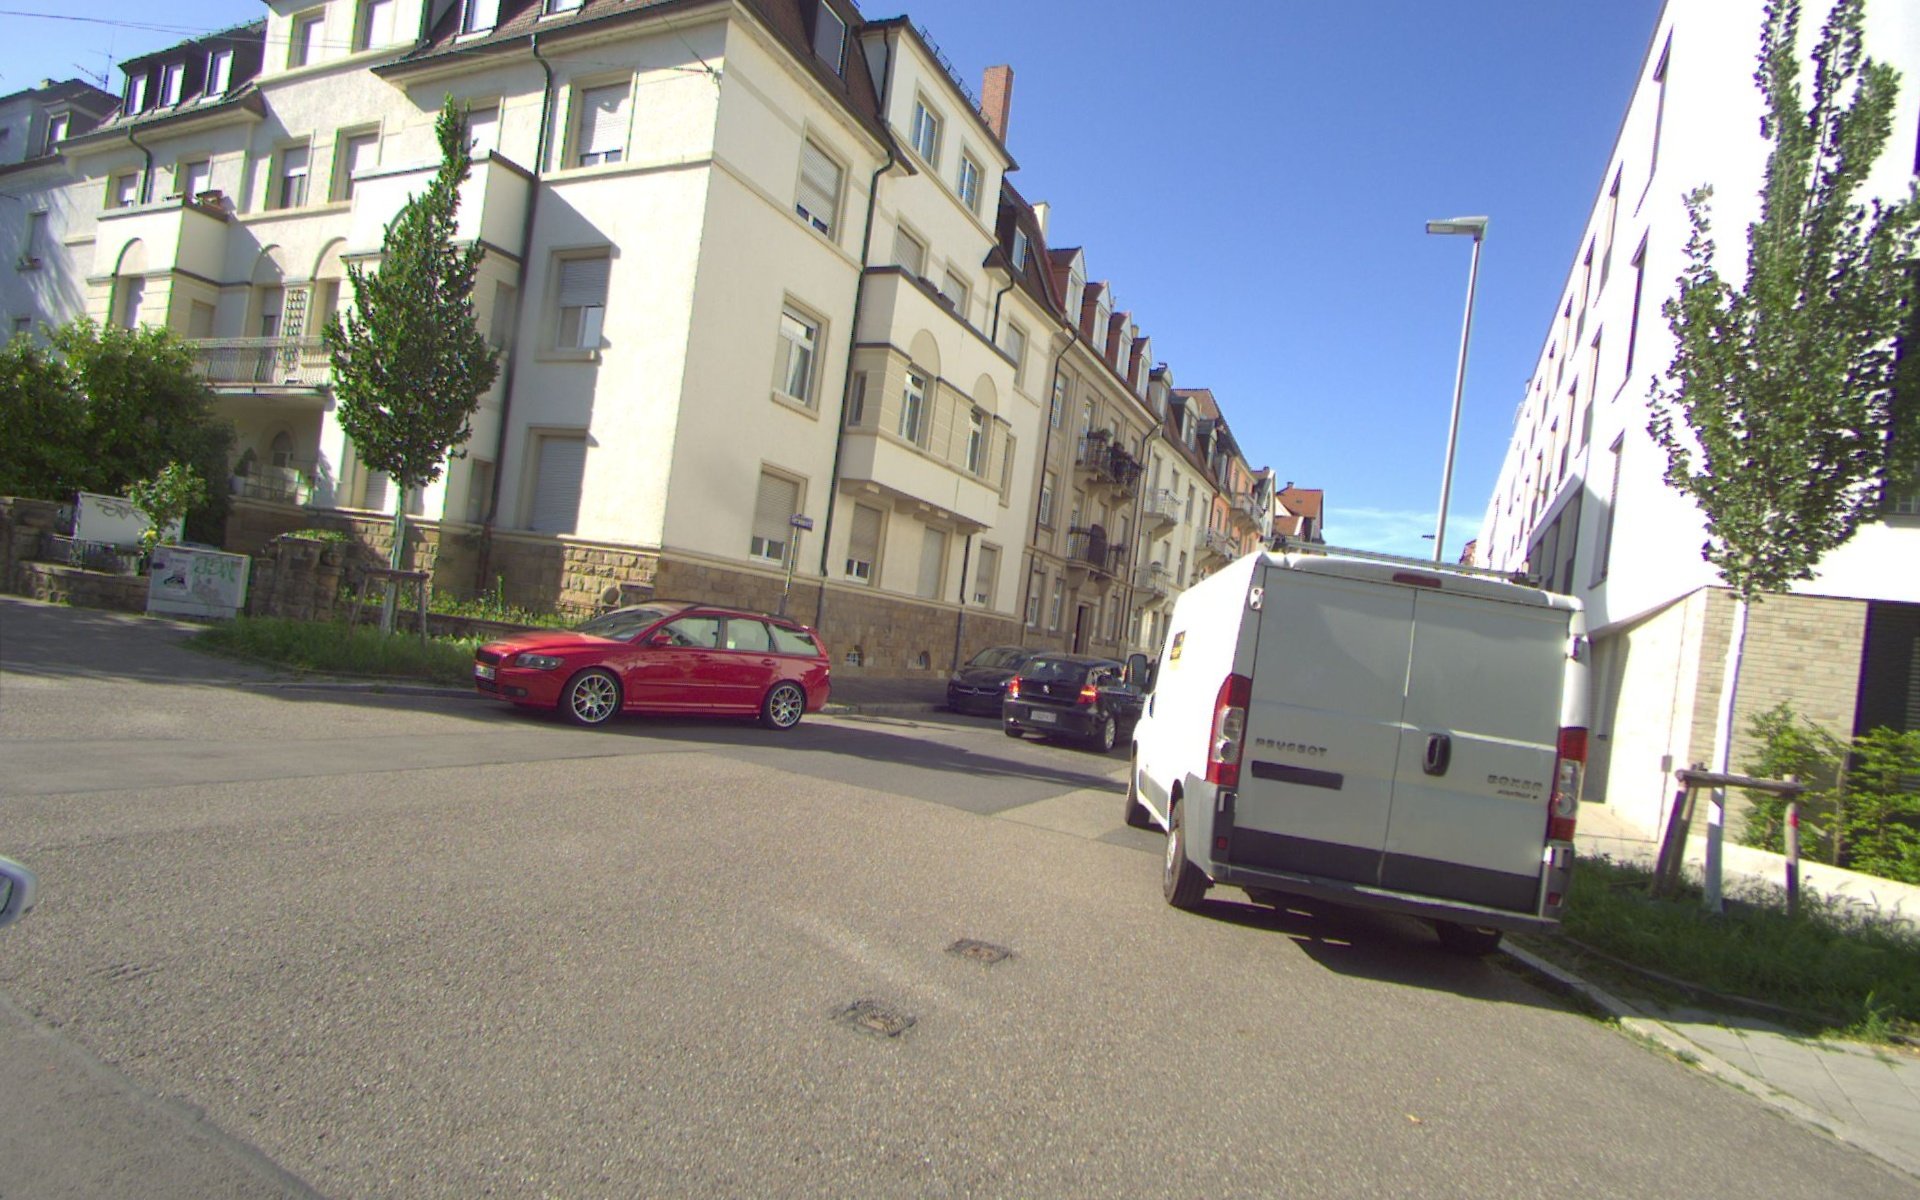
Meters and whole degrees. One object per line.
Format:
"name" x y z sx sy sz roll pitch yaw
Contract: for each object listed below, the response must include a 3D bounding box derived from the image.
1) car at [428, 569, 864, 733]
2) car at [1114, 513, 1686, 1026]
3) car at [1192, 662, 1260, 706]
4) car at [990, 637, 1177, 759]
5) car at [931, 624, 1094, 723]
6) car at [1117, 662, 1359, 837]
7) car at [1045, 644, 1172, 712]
"car" -3.616 0.717 12.378 1.926 1.486 4.714 6 -3 41
"car" 2.615 0.944 7.671 2.192 2.333 5.061 7 -1 4
"car" 11.542 3.667 43.507 1.964 1.569 4.435 6 -3 25
"car" 2.161 1.553 16.546 1.756 1.542 3.998 7 -1 25
"car" 1.224 1.559 21.196 1.802 1.660 4.183 7 -2 26
"car" 3.749 1.731 12.782 2.011 1.487 4.943 7 -2 25
"car" 4.192 2.212 27.708 1.796 1.486 4.942 7 -2 28
